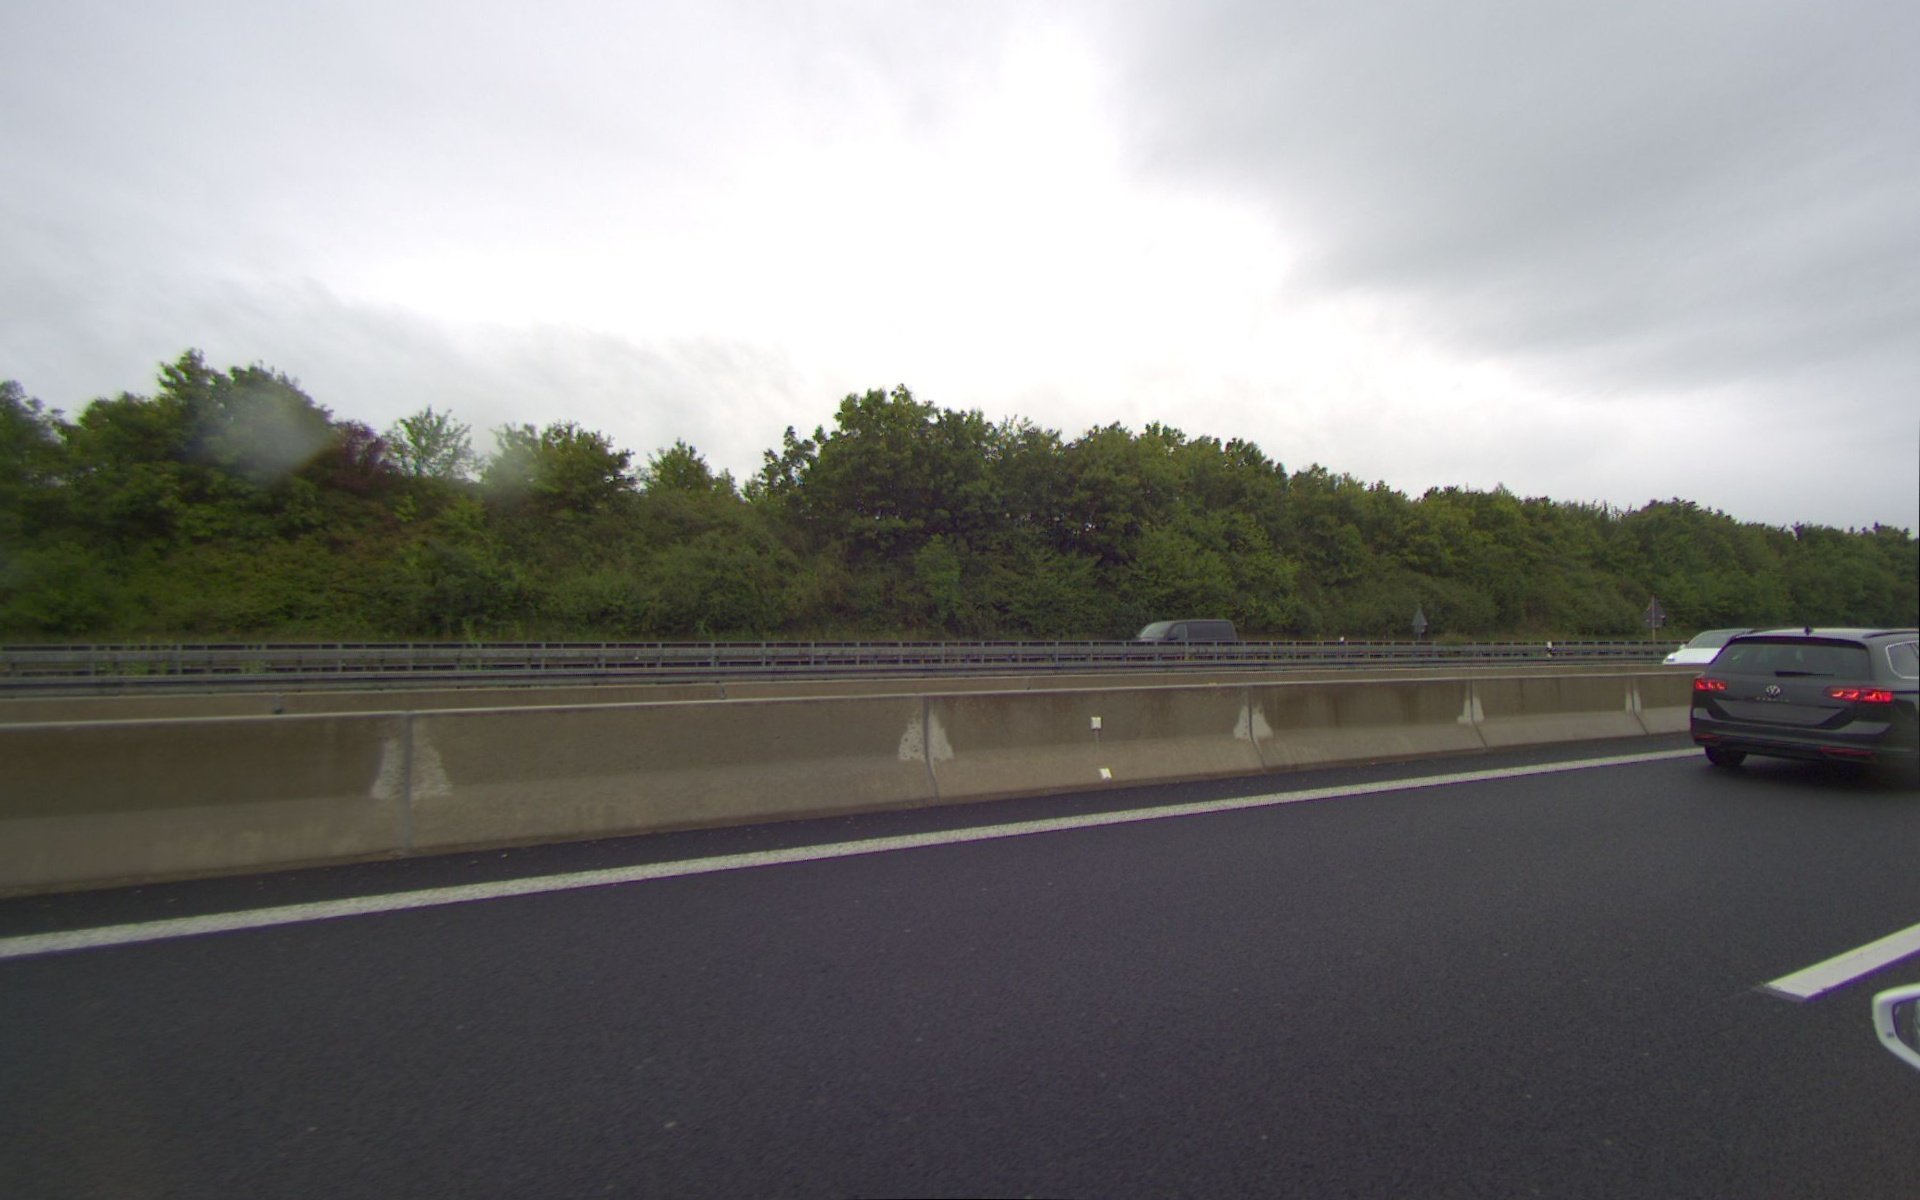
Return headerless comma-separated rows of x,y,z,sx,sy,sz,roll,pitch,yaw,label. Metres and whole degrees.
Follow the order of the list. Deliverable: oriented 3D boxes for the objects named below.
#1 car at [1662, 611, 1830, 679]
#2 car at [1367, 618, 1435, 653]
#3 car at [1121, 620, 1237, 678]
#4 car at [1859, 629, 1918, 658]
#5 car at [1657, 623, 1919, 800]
22.421,1.251,28.628,4.902,1.789,2.145,2,-1,-31,car
26.540,2.112,60.456,3.952,2.040,1.742,1,-1,-30,car
8.197,1.794,37.449,4.226,2.040,1.666,1,-1,-30,car
68.124,3.184,73.655,4.662,2.040,1.983,2,0,-32,car
9.528,1.021,10.511,4.744,1.478,1.780,1,-1,-29,car
